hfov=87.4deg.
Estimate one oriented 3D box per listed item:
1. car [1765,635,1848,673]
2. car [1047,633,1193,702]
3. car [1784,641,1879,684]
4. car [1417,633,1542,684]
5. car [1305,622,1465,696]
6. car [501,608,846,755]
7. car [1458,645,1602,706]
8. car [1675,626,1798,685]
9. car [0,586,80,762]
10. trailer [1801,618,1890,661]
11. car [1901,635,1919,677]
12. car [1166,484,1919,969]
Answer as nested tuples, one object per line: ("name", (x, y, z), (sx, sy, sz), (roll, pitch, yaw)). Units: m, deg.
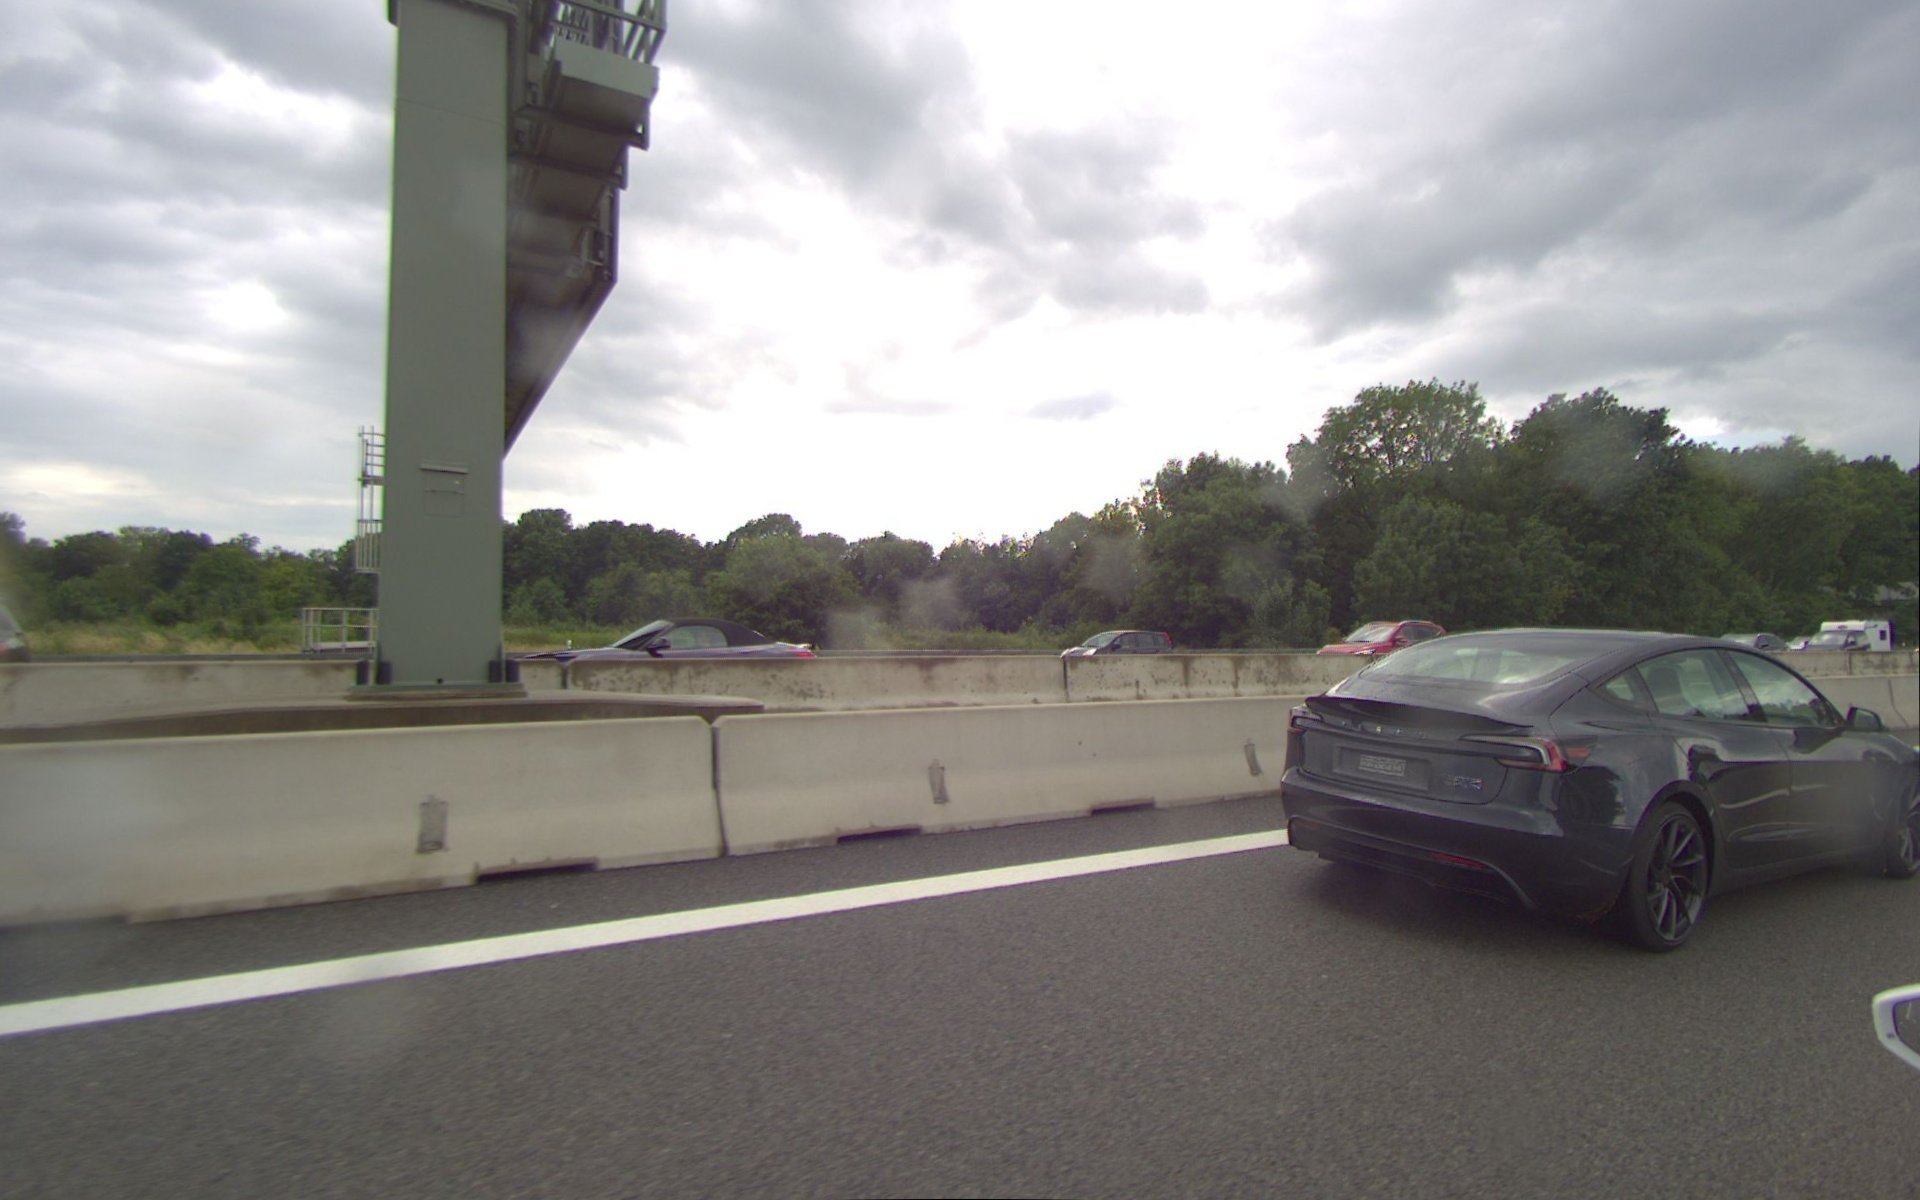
("car", (47.827, 3.001, 56.735), (5.163, 1.978, 1.984), (1, 0, -30))
("car", (5.206, 2.113, 32.552), (4.507, 2.040, 1.899), (1, 0, -30))
("car", (43.051, 3.033, 49.589), (5.163, 1.978, 1.984), (1, 0, -30))
("car", (21.772, 2.387, 42.073), (5.163, 1.978, 2.232), (1, -1, -30))
("car", (11.247, 1.505, 26.488), (4.286, 1.768, 1.670), (1, 0, -30))
("car", (-3.621, 0.937, 12.835), (3.953, 1.617, 1.721), (1, 0, -30))
("car", (20.747, 2.667, 36.518), (5.163, 1.978, 2.232), (1, -1, -30))
("car", (28.906, 2.009, 37.376), (4.708, 2.040, 1.984), (1, 0, -30))
("car", (-13.405, 0.827, 11.466), (4.704, 2.040, 1.984), (1, 0, -30))
("trailer", (52.382, 2.315, 59.404), (5.715, 2.406, 2.232), (1, 0, -30))
("car", (47.509, 2.678, 48.249), (5.163, 1.978, 1.984), (1, 0, -30))
("car", (3.829, 0.527, 5.989), (5.102, 1.845, 1.984), (1, -1, -31))
